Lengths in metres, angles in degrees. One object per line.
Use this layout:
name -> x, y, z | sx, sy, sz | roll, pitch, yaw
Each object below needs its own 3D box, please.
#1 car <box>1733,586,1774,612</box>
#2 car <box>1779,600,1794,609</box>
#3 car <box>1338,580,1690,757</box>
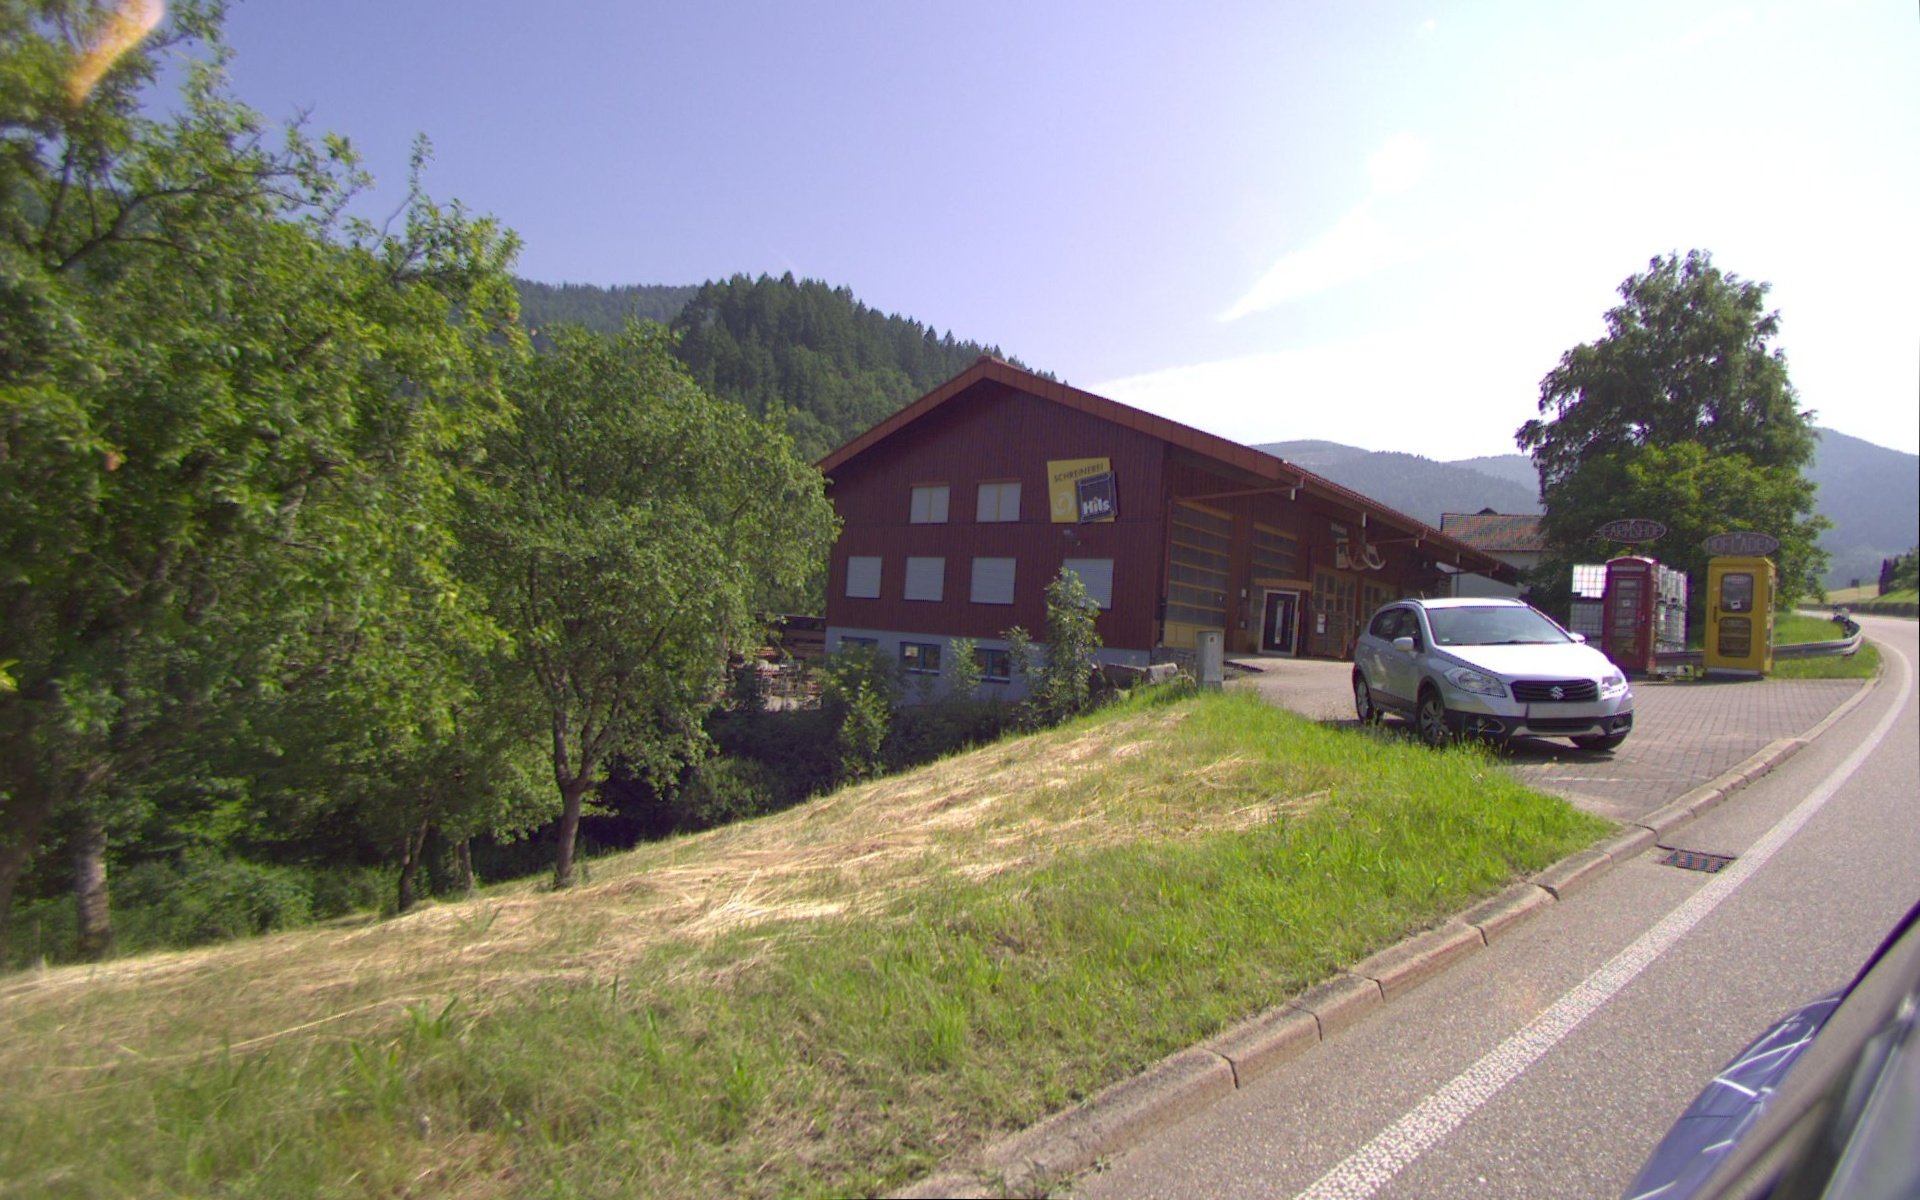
car -> 59.224, -0.051, 75.495 | 1.810, 1.836, 4.588 | 4, 2, 45
car -> 146.036, 0.800, 178.766 | 1.806, 1.528, 4.208 | 1, 1, 36
car -> 5.839, 0.669, 11.419 | 1.872, 1.591, 4.453 | -1, -1, 6
